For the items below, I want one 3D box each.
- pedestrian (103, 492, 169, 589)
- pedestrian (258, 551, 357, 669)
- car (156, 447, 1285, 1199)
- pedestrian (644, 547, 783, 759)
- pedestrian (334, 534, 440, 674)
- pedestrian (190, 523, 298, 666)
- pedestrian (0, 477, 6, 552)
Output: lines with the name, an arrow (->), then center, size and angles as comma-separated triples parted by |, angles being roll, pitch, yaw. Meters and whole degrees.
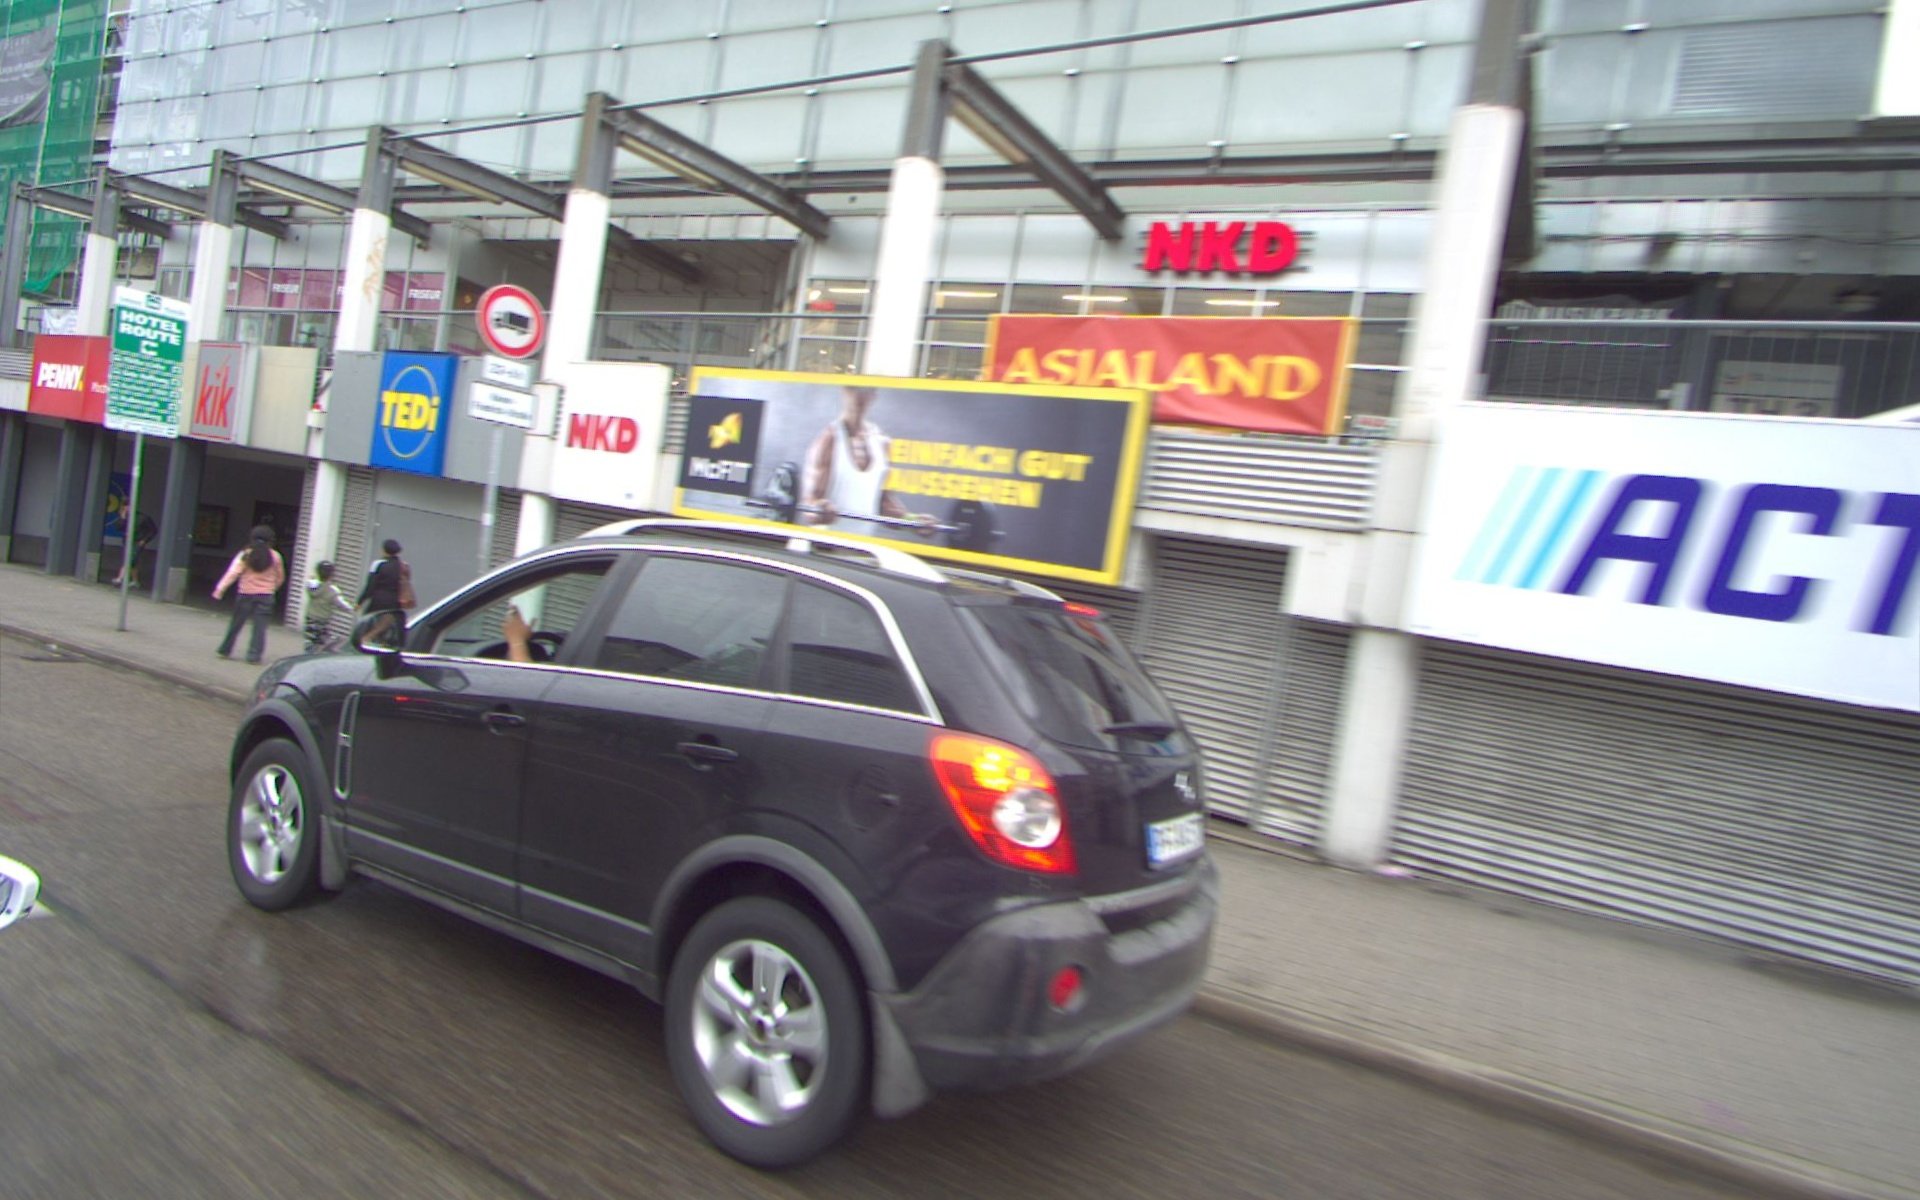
pedestrian -> -15.936, -1.147, 19.461 | 0.805, 1.737, 0.669 | 8, 2, 33
pedestrian -> -7.219, 0.119, 11.141 | 0.545, 1.223, 0.690 | 8, 2, 38
car -> -1.146, 0.546, 4.135 | 4.229, 1.808, 1.910 | 8, 1, 31
pedestrian -> -2.180, 0.464, 8.919 | 0.608, 1.744, 0.835 | 8, 2, 38
pedestrian -> -6.579, 0.051, 11.544 | 0.694, 1.486, 0.770 | 8, 2, 43
pedestrian -> -7.726, -0.050, 10.857 | 0.588, 1.457, 0.745 | 8, 3, 38
pedestrian -> -17.513, -1.360, 17.716 | 0.817, 1.744, 0.835 | 8, 2, 38
